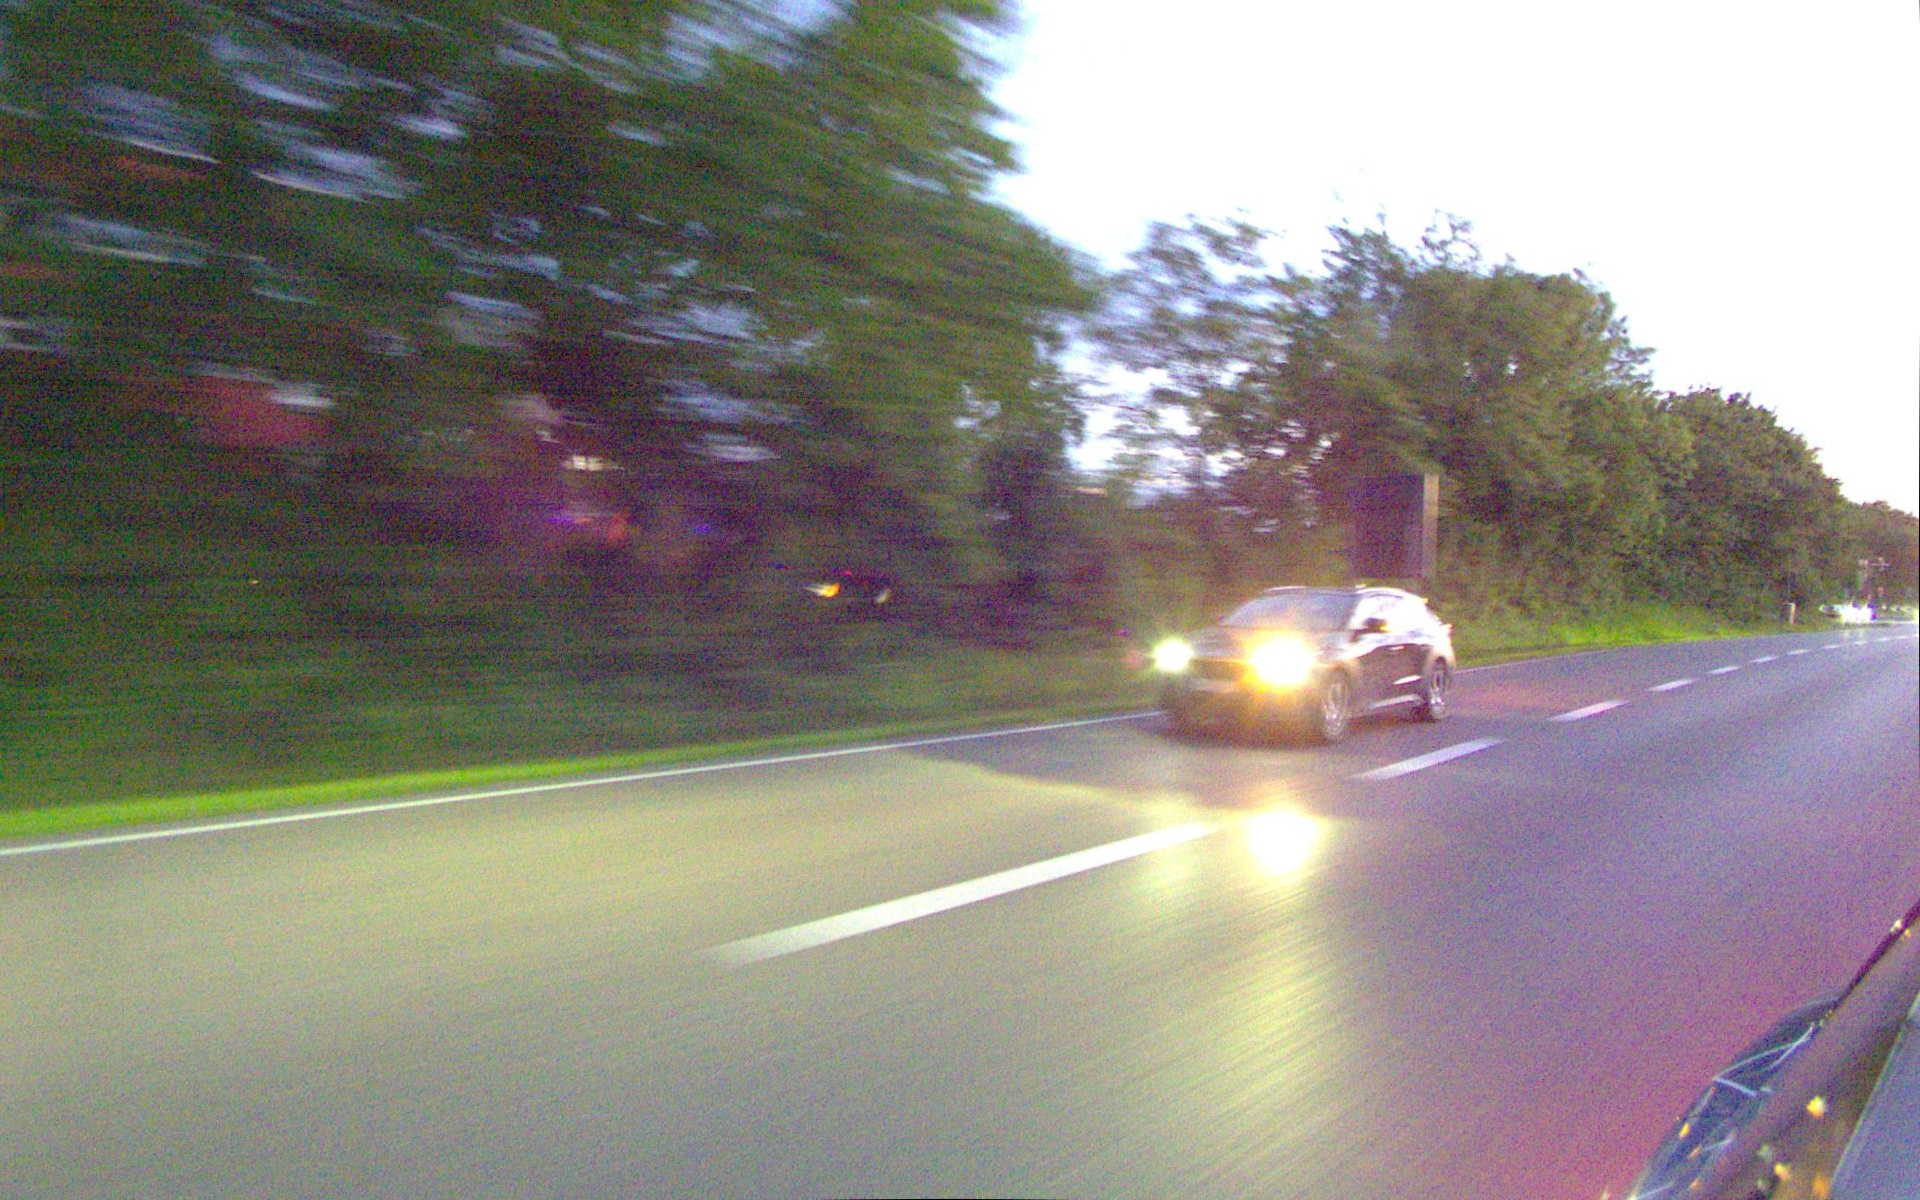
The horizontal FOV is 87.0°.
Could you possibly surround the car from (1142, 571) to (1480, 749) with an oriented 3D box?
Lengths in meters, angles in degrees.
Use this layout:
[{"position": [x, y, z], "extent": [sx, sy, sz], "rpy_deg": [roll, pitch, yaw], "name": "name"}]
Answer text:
[{"position": [4.196, 0.542, 11.666], "extent": [4.482, 1.640, 1.902], "rpy_deg": [0, 1, -45], "name": "car"}]
